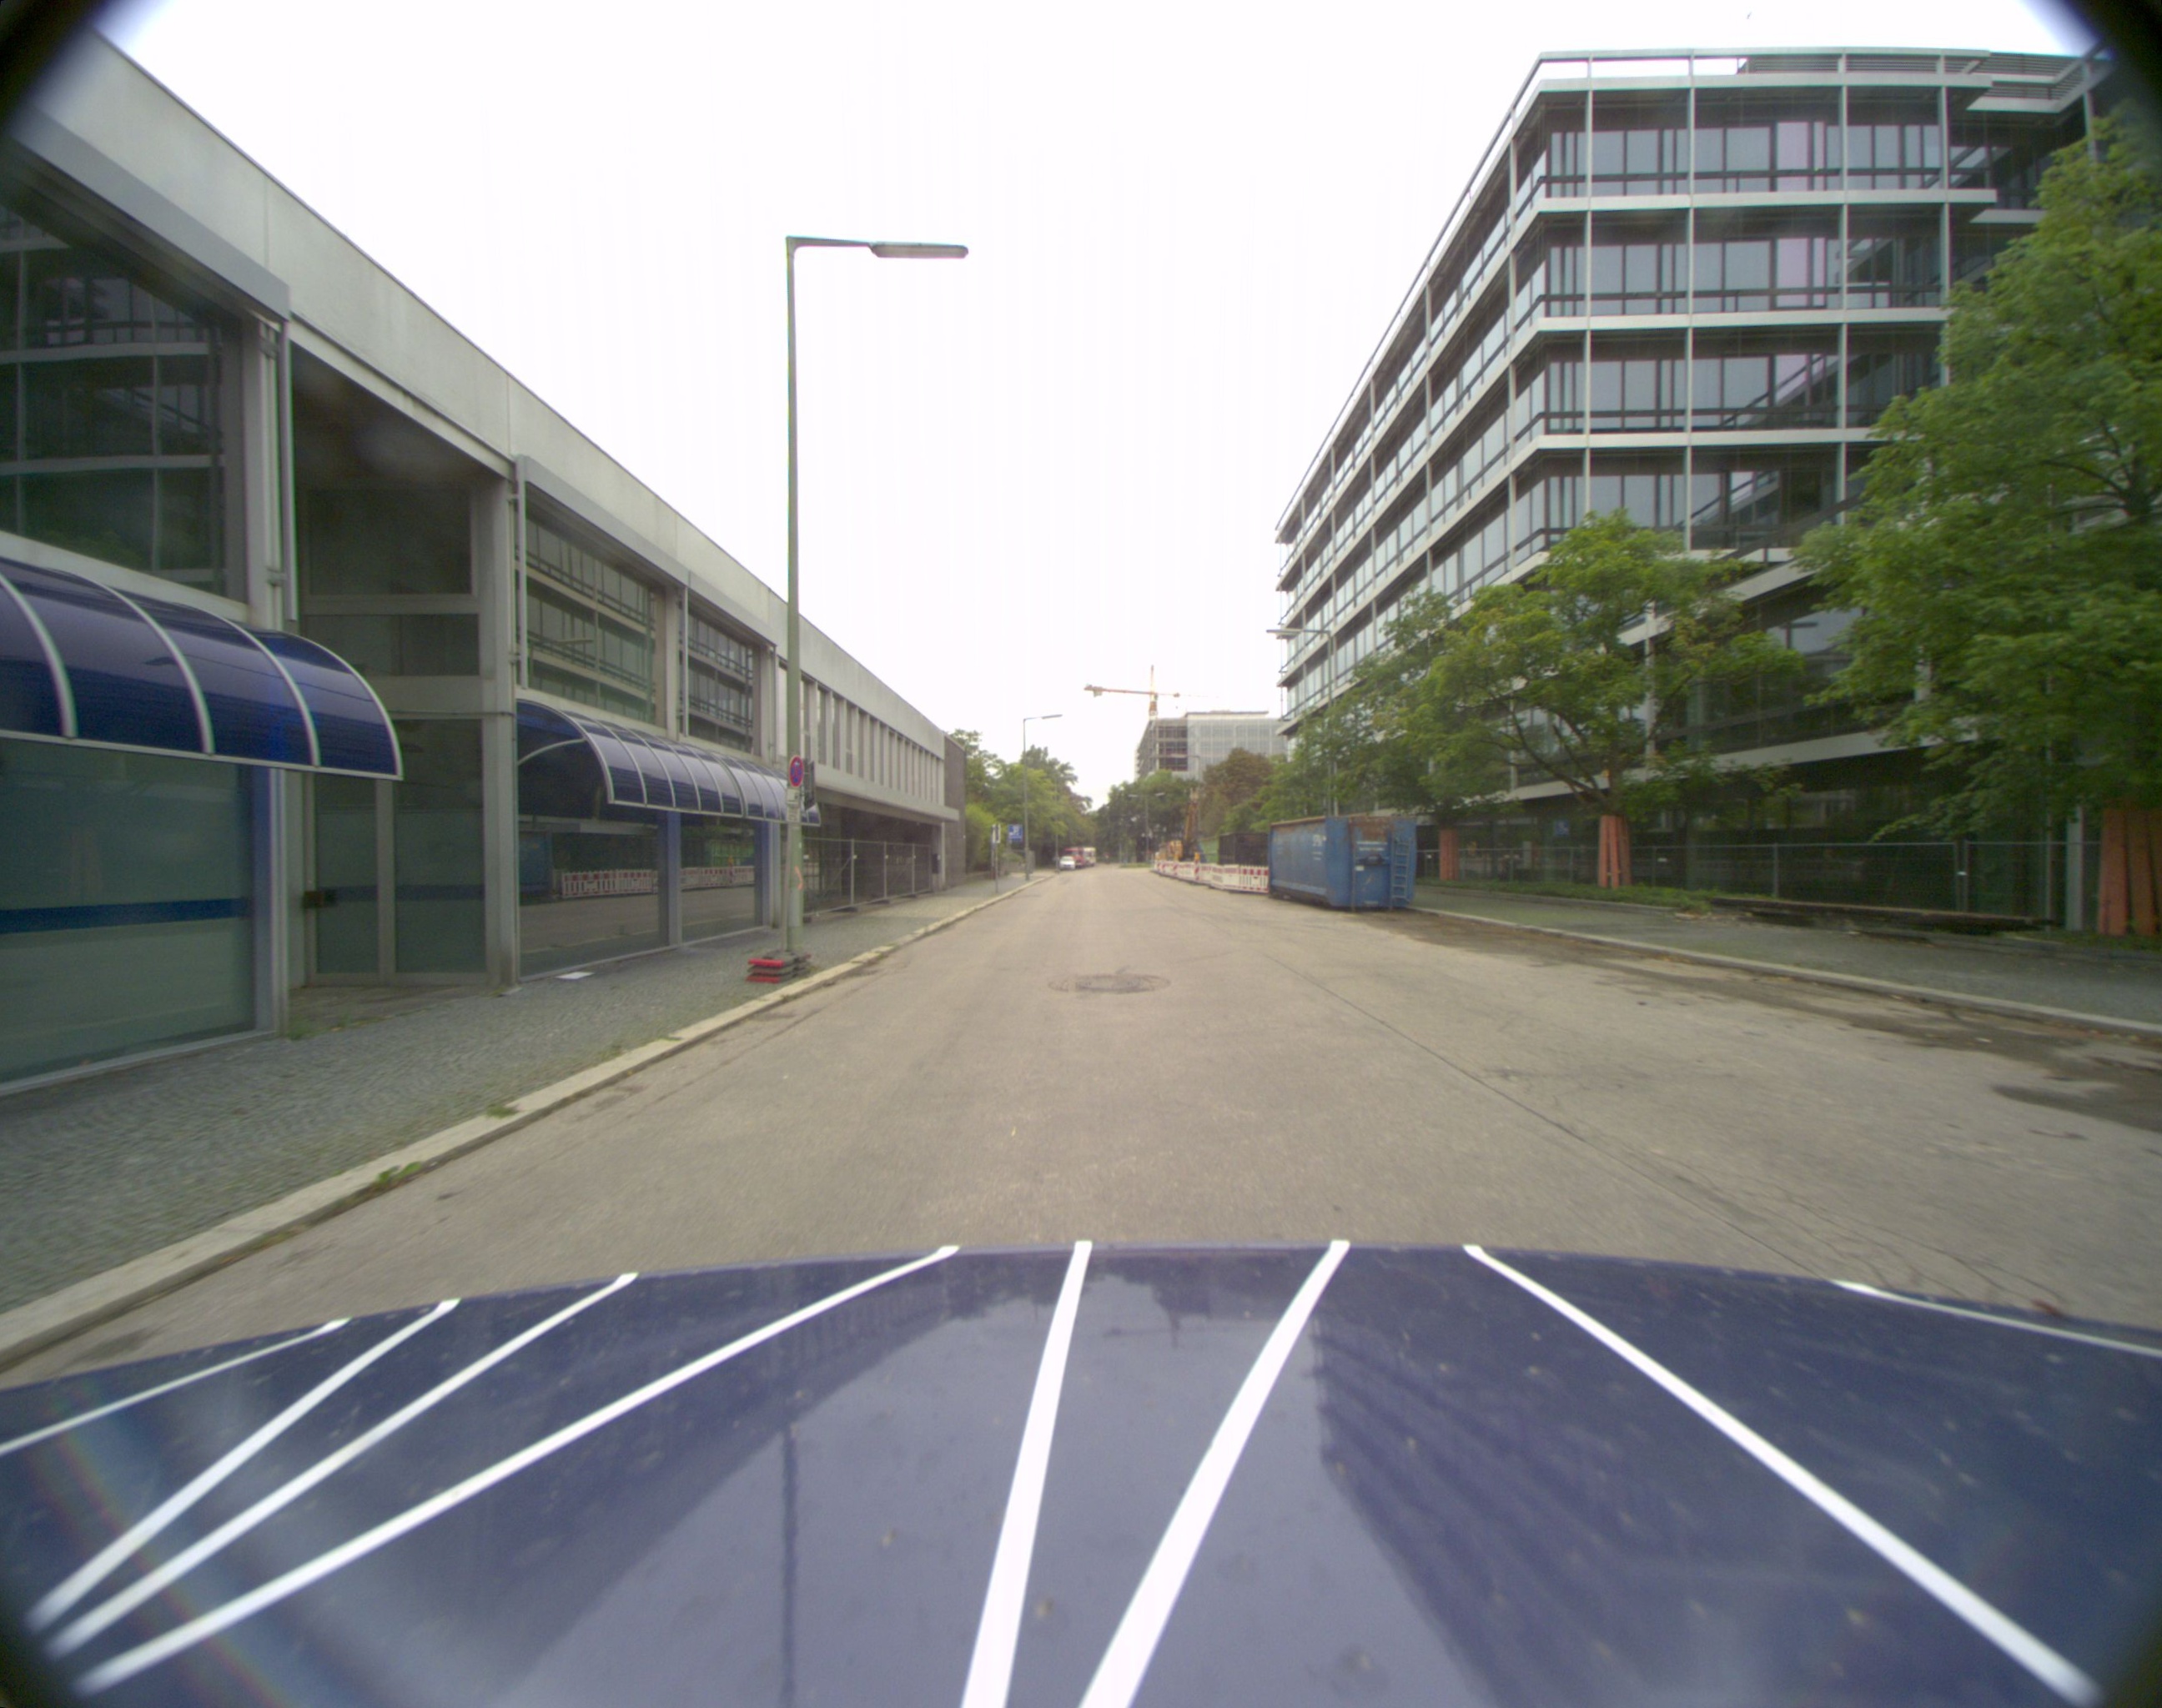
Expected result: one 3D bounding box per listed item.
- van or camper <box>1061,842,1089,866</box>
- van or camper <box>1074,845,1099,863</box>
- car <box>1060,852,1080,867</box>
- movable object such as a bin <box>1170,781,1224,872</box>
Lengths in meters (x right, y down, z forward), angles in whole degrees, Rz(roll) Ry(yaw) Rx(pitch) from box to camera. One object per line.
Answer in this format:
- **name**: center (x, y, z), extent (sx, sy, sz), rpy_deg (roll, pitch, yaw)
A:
- **van or camper**: center (-0.681, -0.045, 89.505), extent (2.666, 2.751, 6.916), rpy_deg (-1, 0, 4)
- **van or camper**: center (0.808, -0.029, 103.784), extent (2.665, 2.436, 6.448), rpy_deg (0, 0, 7)
- **car**: center (-1.190, 0.567, 83.242), extent (1.912, 1.627, 4.000), rpy_deg (-1, 0, 3)
- **movable object such as a bin**: center (8.533, -1.912, 57.057), extent (3.241, 6.285, 8.337), rpy_deg (-1, 1, 3)
